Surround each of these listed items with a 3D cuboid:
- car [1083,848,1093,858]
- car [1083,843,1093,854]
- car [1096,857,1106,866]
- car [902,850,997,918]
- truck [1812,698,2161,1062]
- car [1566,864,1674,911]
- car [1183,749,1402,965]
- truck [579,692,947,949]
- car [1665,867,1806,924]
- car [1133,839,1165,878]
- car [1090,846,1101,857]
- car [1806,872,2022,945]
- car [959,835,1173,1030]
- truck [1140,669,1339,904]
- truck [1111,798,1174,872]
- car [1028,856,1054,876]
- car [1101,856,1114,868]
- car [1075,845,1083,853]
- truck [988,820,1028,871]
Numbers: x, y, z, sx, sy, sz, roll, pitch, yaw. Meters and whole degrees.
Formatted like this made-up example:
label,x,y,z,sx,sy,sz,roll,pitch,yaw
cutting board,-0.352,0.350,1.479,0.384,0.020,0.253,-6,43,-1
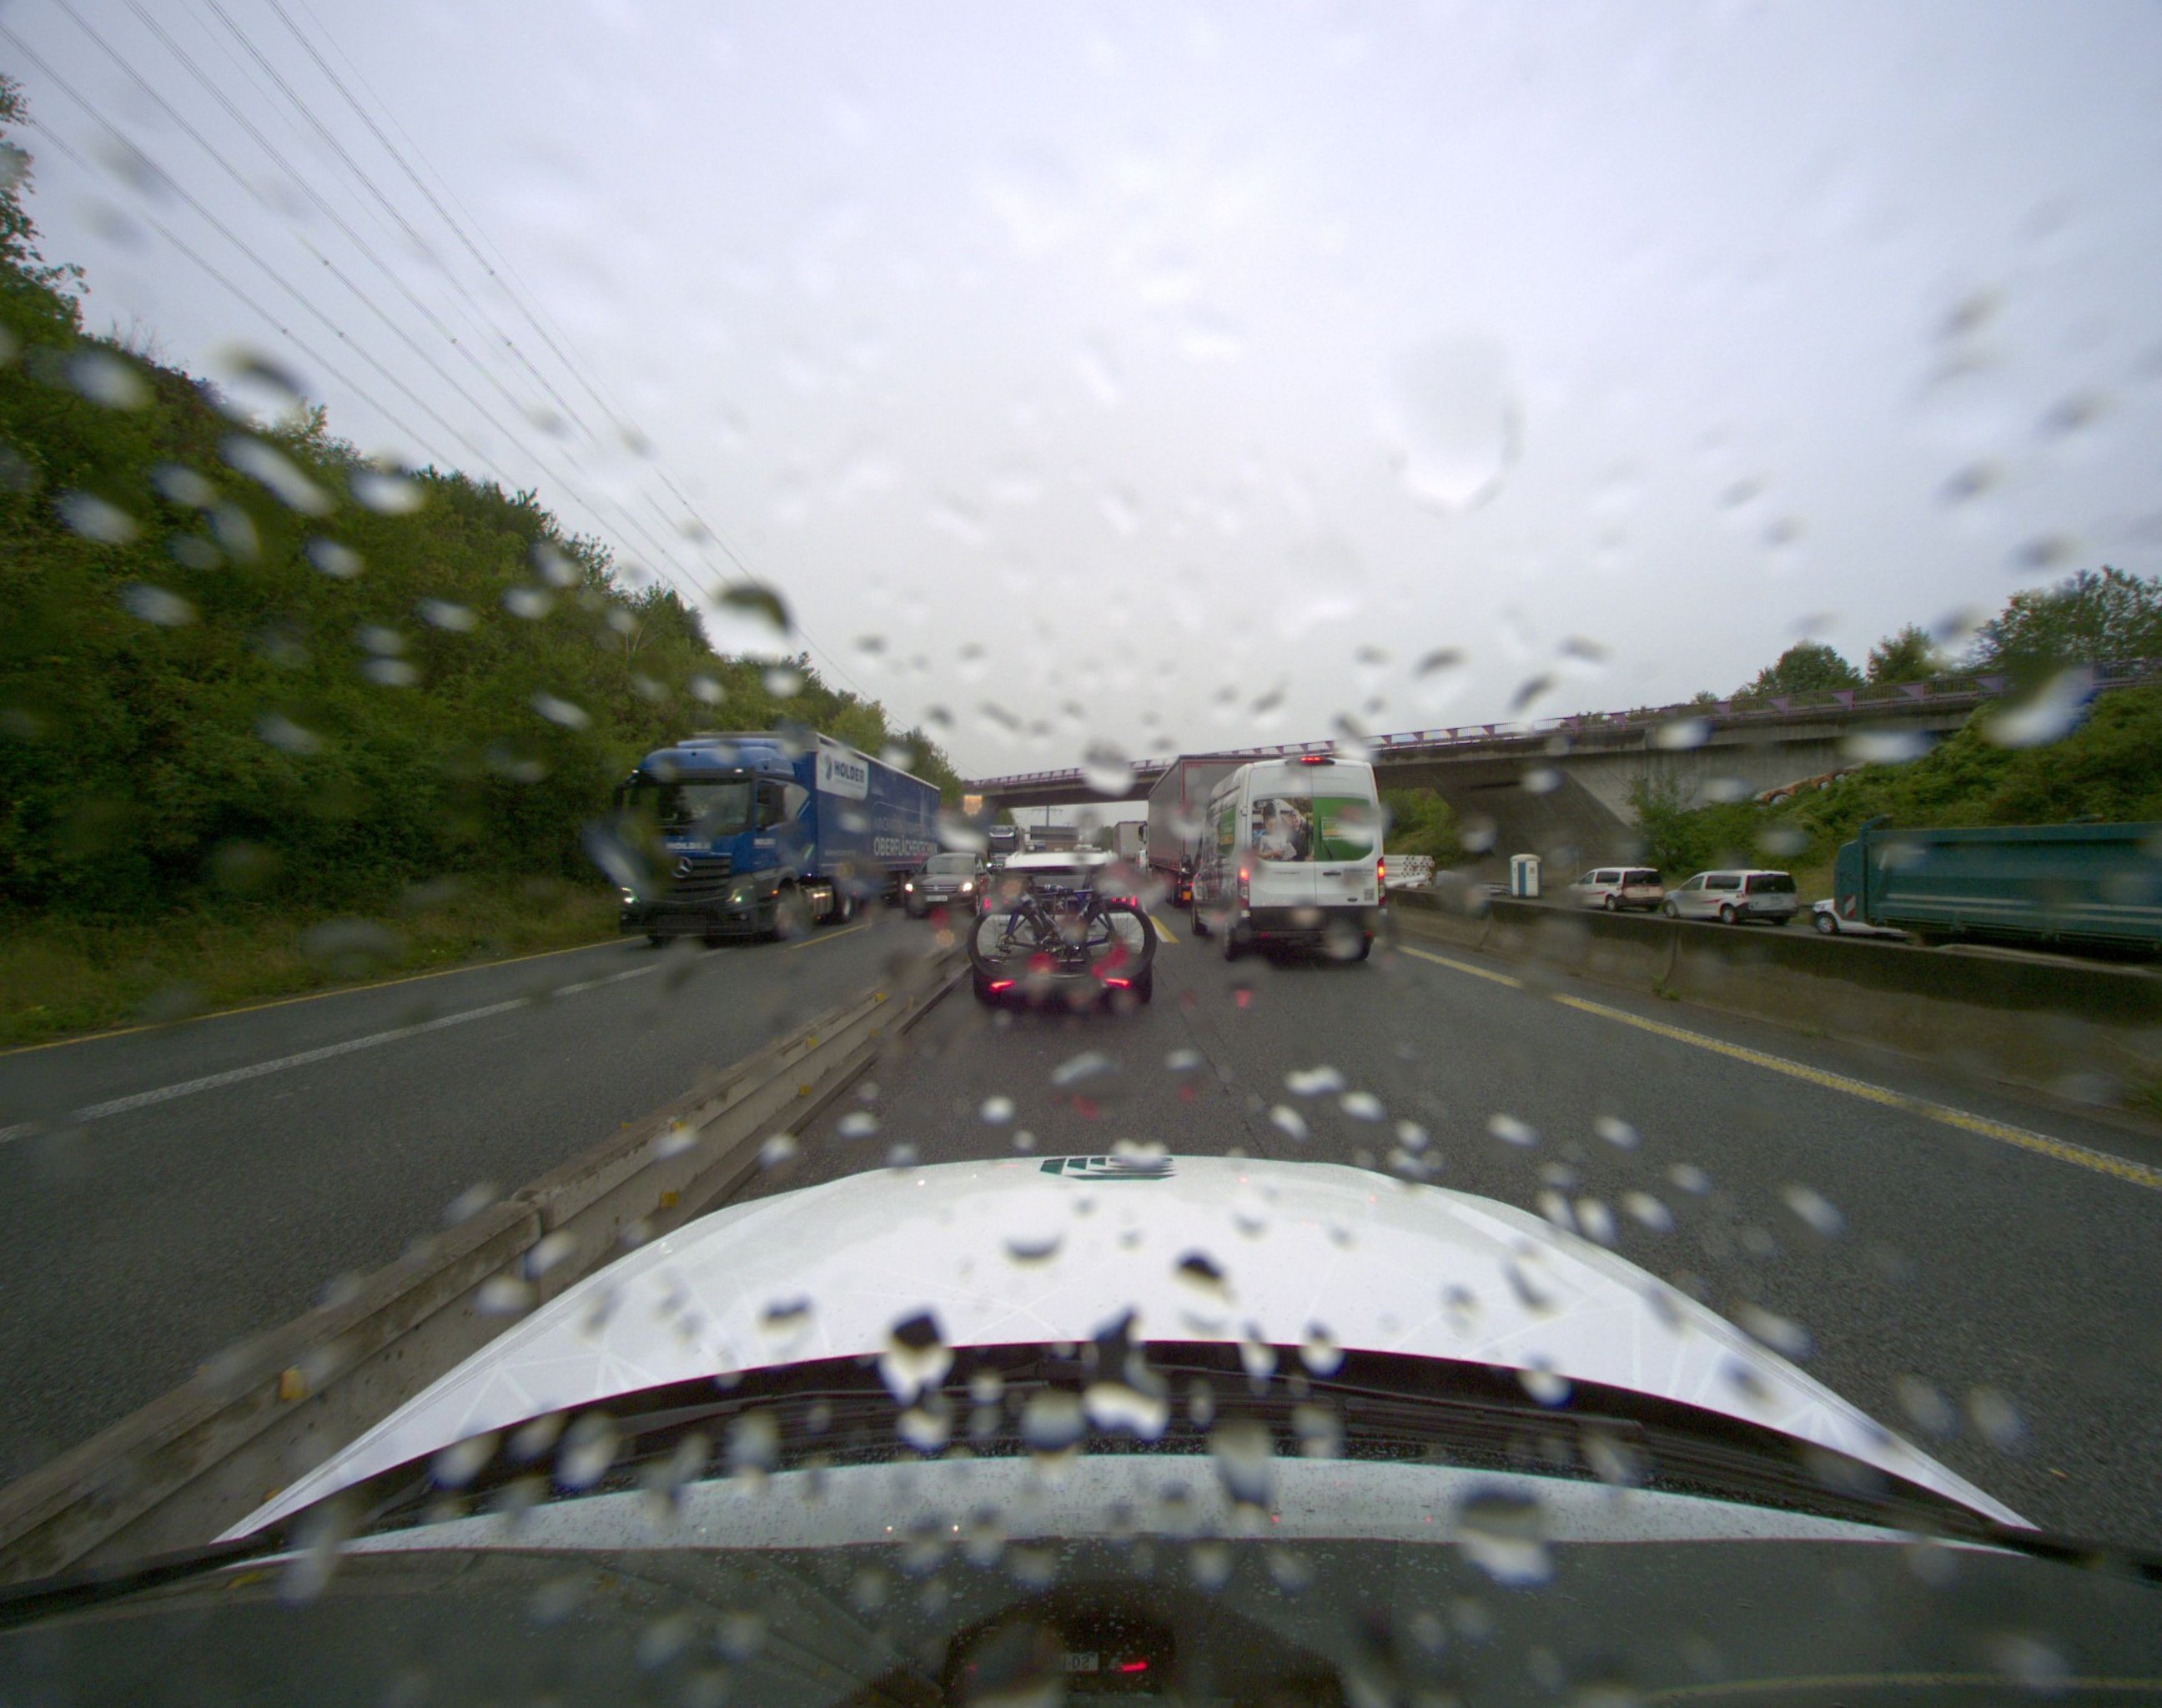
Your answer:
label,x,y,z,sx,sy,sz,roll,pitch,yaw
car,1.540,-0.239,169.152,1.986,2.014,4.002,-1,-1,2
car,1.611,-1.224,182.233,2.231,2.307,4.573,-1,-1,2
car,3.280,1.241,132.707,1.632,1.497,3.667,-1,-1,2
car,-3.365,0.726,21.513,1.777,1.610,4.104,-1,-1,1
truck,10.526,0.204,5.868,2.511,3.132,9.121,-1,0,2
car,22.468,1.339,34.172,1.840,1.809,4.158,-1,-1,1
car,3.027,0.059,13.248,2.136,2.676,6.119,-1,-1,2
truck,-6.538,-0.479,21.613,2.756,4.123,16.930,-1,0,1
car,22.268,1.361,27.928,1.721,1.745,4.128,-1,-1,4
car,3.895,0.263,47.051,1.663,2.180,4.538,-1,-1,3
car,2.647,-0.381,149.662,1.986,2.014,4.001,-1,-1,1
car,22.226,1.374,22.004,1.722,1.725,4.127,-1,-1,3
car,-0.014,0.683,9.207,1.803,1.637,4.639,-1,0,3
truck,4.575,-1.563,29.914,3.964,5.673,20.384,-1,0,2
truck,5.238,-1.382,72.625,4.723,5.673,20.390,-1,0,3
car,-3.173,0.931,64.721,1.933,1.494,3.997,0,-1,-2
car,3.392,1.049,104.027,1.632,1.497,3.667,-1,-1,2
car,-0.608,-1.311,213.736,1.986,2.126,4.528,-1,-1,2
truck,-6.231,-0.634,70.682,2.455,4.123,10.088,0,-1,0
